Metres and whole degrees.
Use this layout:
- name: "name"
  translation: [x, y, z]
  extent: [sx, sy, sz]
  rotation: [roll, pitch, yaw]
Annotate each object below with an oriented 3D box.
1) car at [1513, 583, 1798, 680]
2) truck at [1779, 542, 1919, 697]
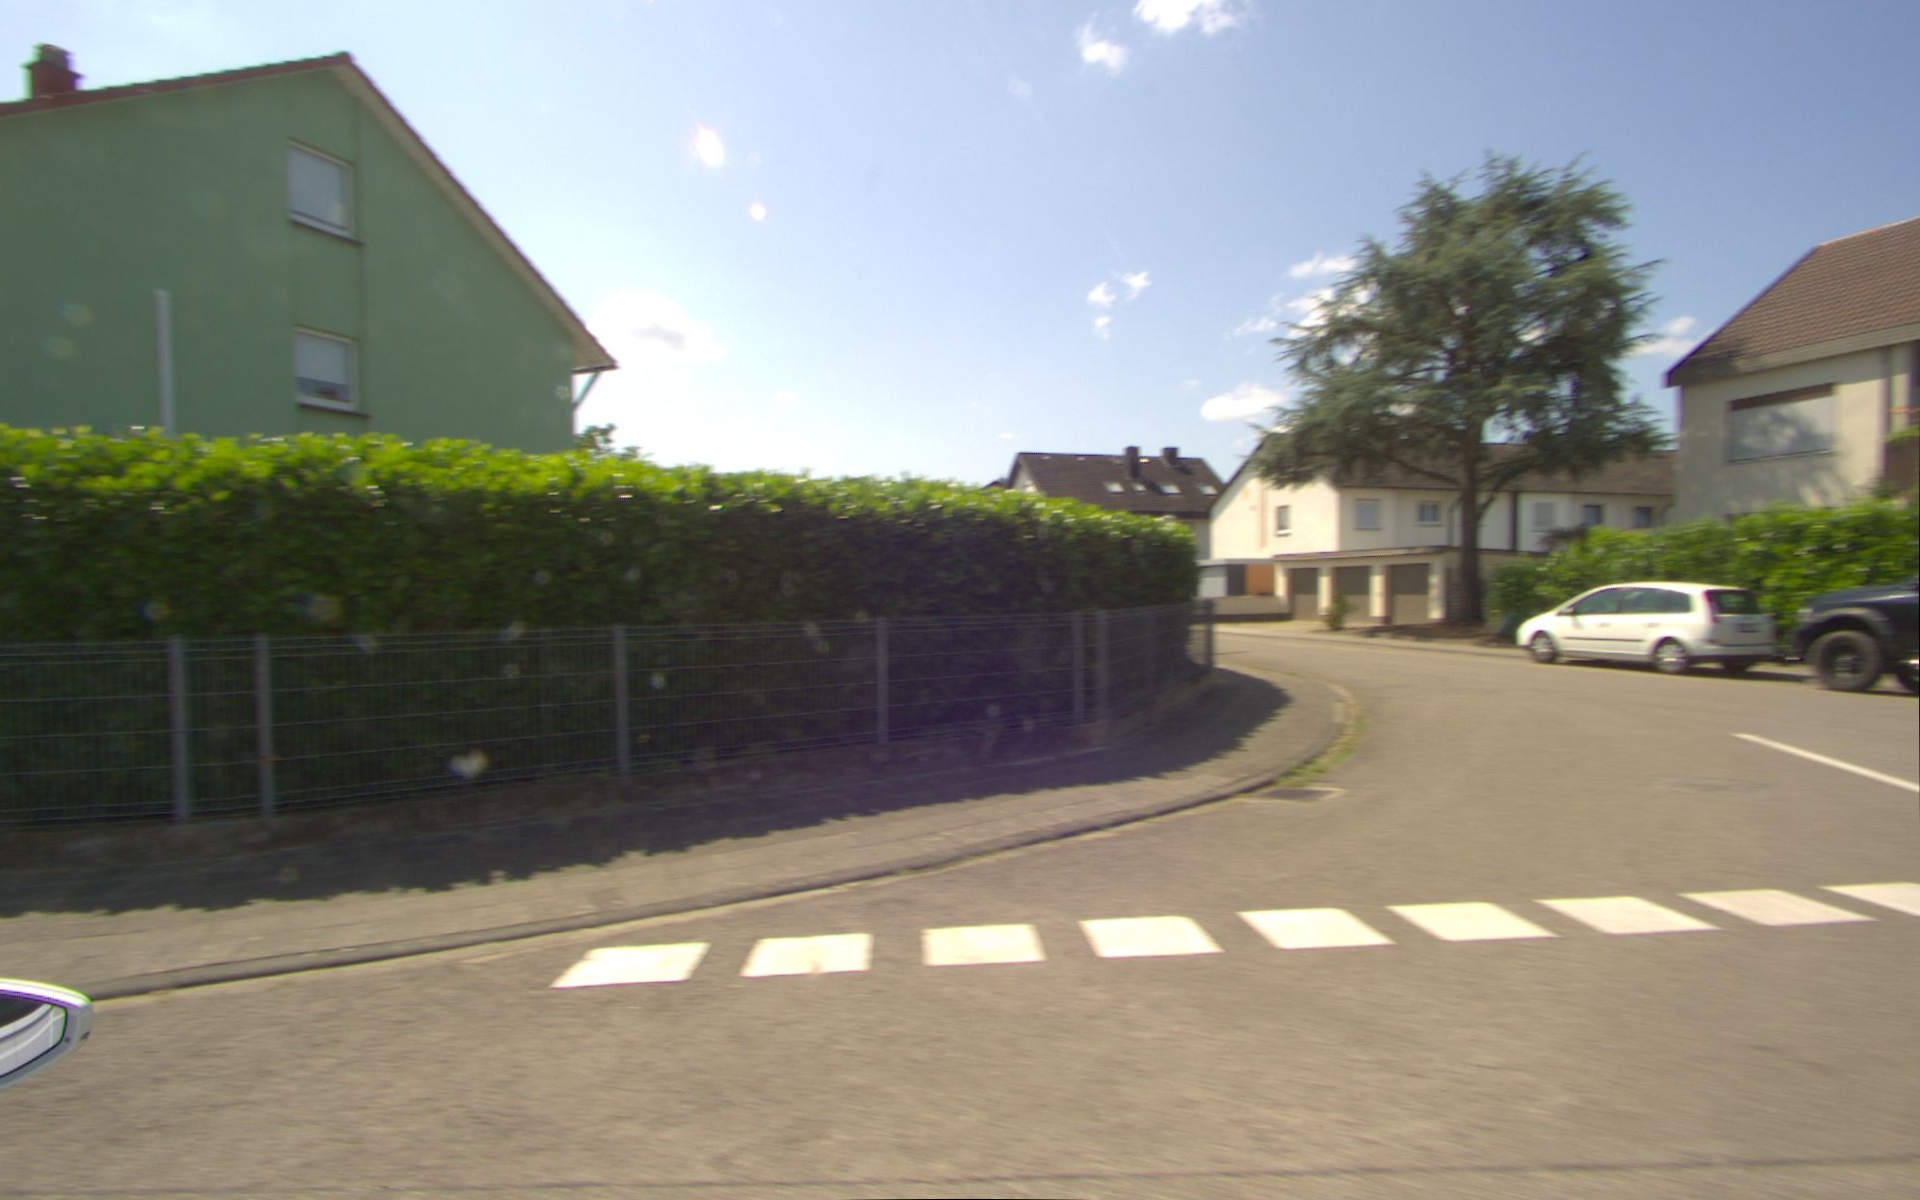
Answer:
- name: "car"
  translation: [12.718, 0.484, 18.660]
  extent: [1.772, 1.584, 4.133]
  rotation: [-1, 1, -18]
- name: "truck"
  translation: [14.134, 0.345, 12.433]
  extent: [2.332, 2.039, 5.698]
  rotation: [4, -1, -19]
